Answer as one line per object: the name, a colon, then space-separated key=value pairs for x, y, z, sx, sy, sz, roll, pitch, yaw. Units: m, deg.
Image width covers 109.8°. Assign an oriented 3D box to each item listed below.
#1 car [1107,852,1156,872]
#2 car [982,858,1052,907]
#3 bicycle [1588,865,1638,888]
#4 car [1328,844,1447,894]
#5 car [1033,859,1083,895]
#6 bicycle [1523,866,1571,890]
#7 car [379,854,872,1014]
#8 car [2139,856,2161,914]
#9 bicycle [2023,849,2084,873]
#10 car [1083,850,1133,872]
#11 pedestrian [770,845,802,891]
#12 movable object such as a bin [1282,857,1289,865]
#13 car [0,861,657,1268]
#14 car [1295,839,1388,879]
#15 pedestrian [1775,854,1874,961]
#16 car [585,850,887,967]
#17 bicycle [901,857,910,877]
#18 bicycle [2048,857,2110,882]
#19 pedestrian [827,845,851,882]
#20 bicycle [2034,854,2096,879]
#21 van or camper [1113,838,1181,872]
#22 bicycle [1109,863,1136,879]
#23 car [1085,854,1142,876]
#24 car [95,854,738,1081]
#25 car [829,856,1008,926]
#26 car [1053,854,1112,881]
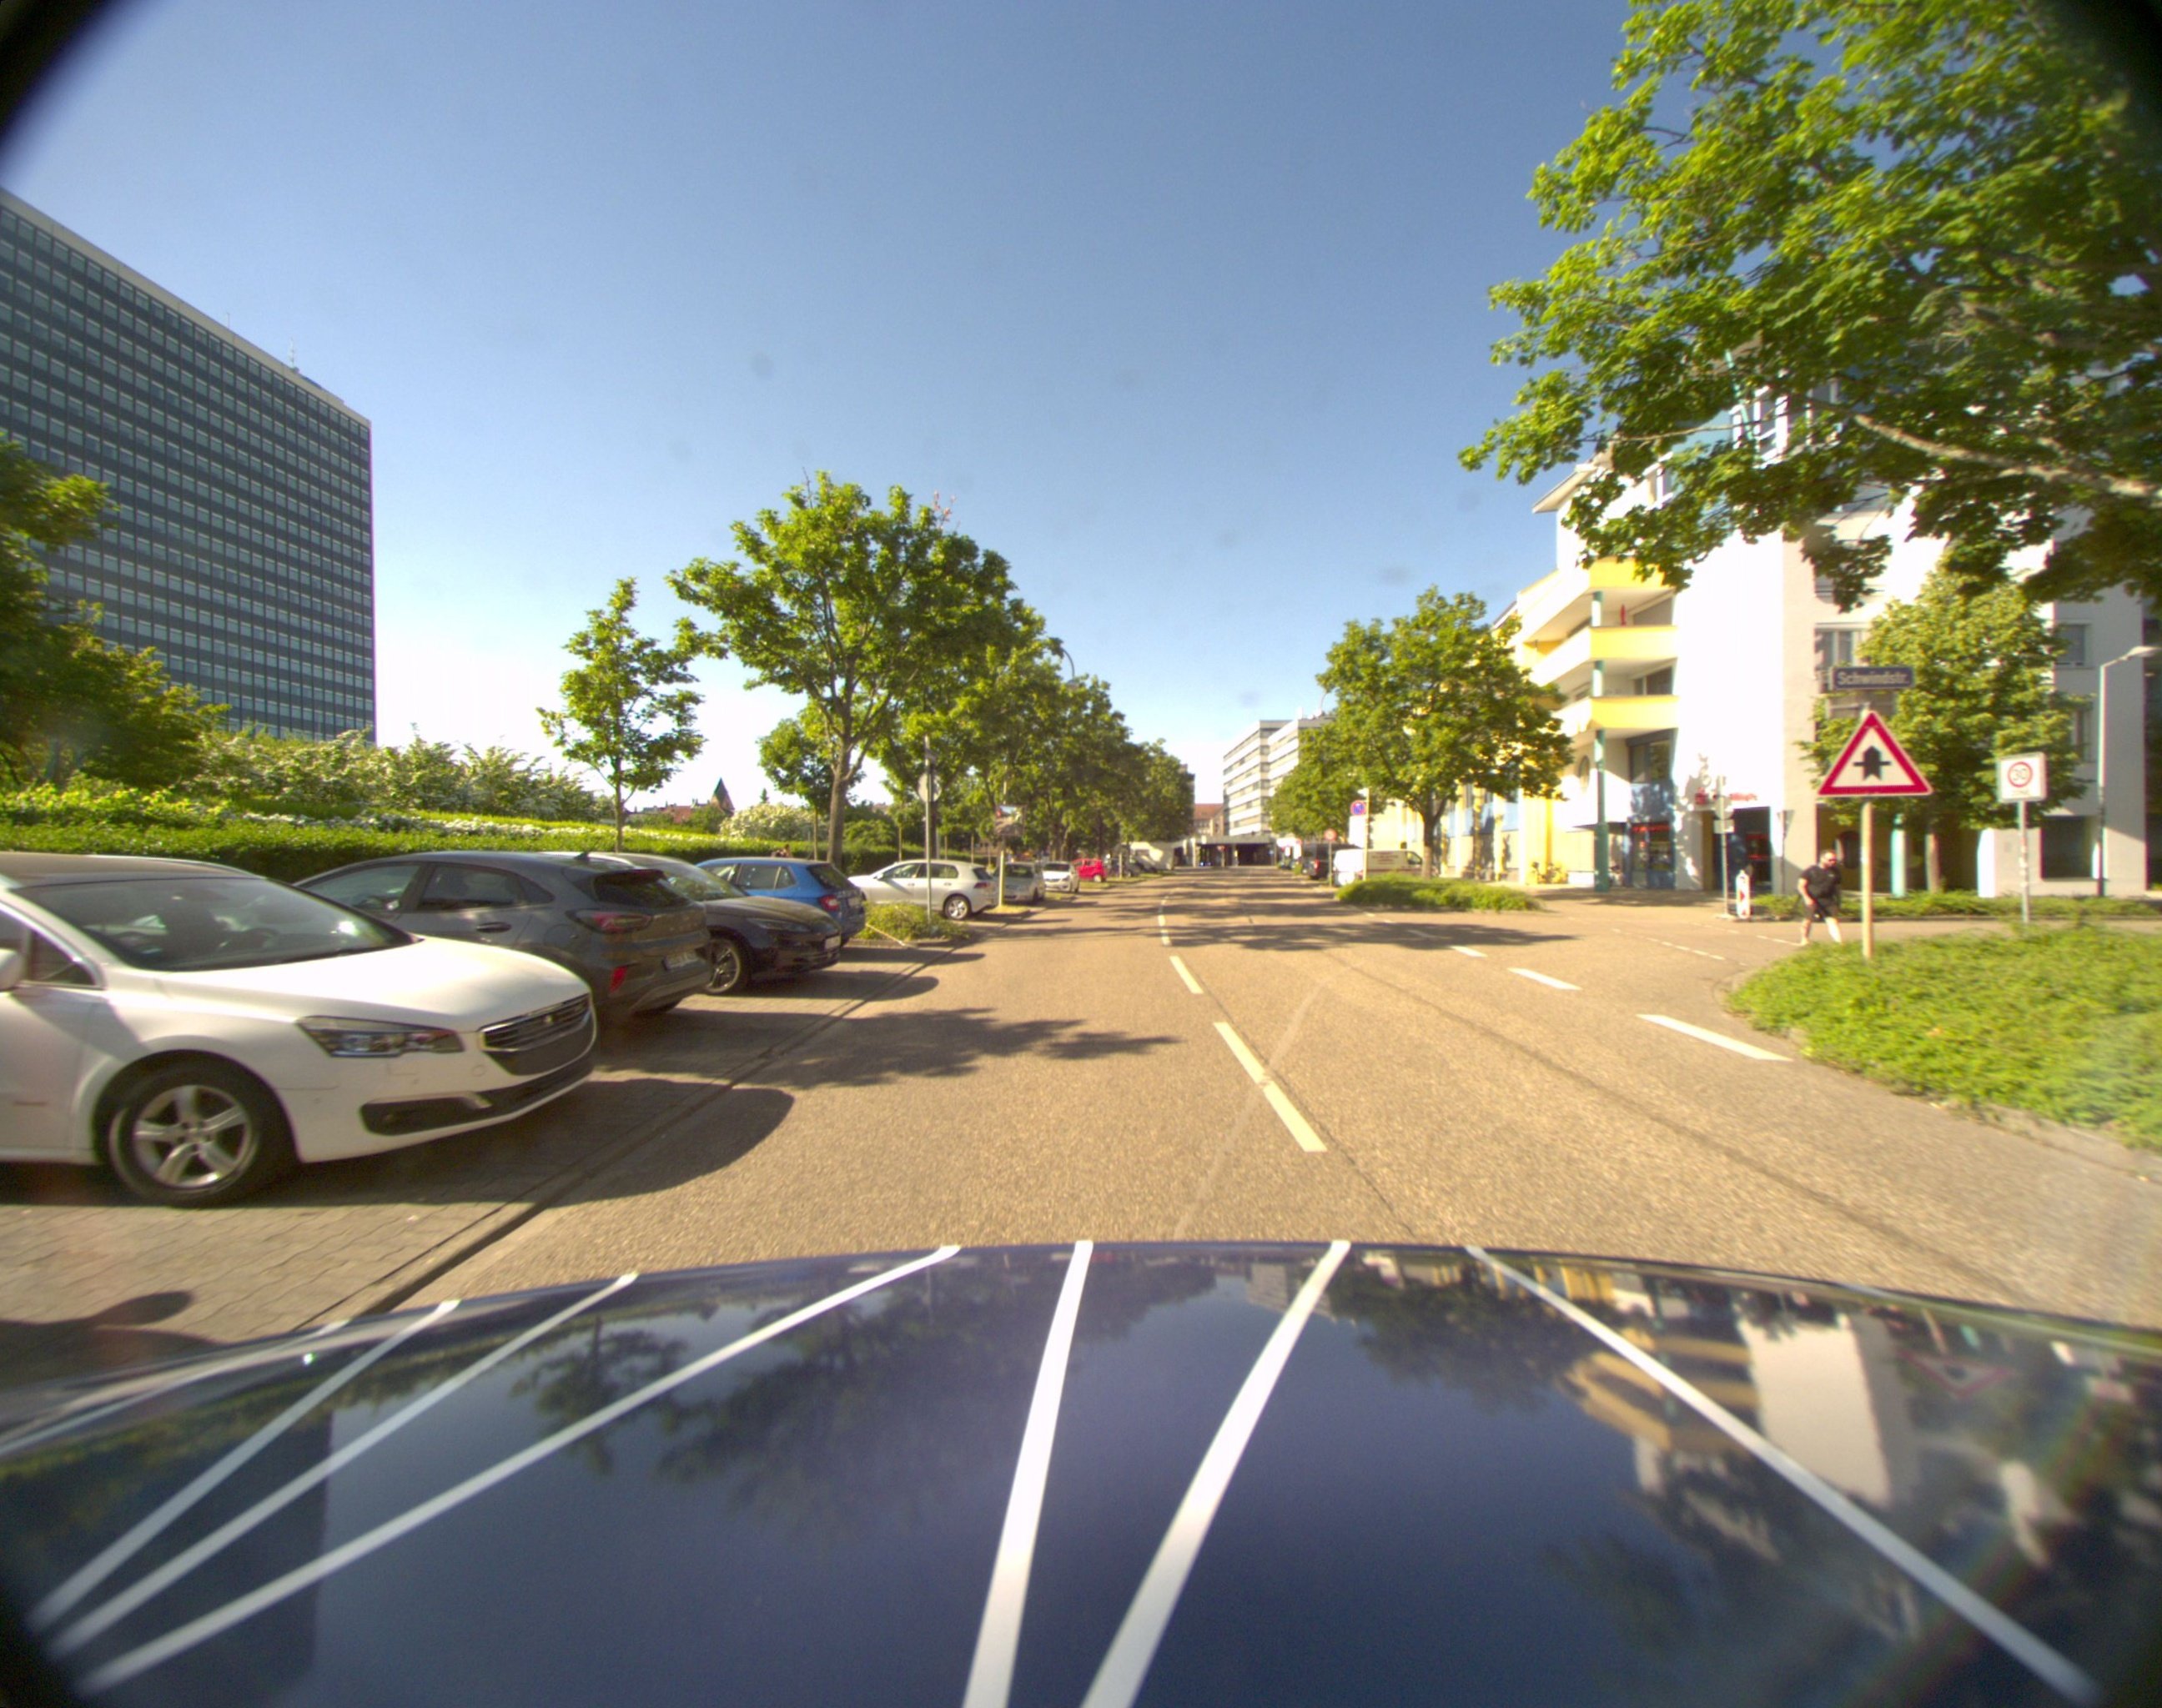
car: x=4.556 y=0.718 z=68.430 sx=4.155 sy=1.537 sz=1.860 roll=2 pitch=1 yaw=11
car: x=-2.220 y=0.963 z=27.605 sx=1.813 sy=1.485 sz=4.624 roll=2 pitch=1 yaw=3
bicycle: x=21.882 y=0.931 z=31.265 sx=1.803 sy=0.867 sz=0.491 roll=-2 pitch=1 yaw=-6
car: x=13.429 y=0.631 z=33.312 sx=4.776 sy=1.973 sz=1.996 roll=-1 pitch=0 yaw=-23
car: x=-1.027 y=1.034 z=35.372 sx=1.646 sy=1.485 sz=3.768 roll=2 pitch=1 yaw=8
bicycle: x=22.007 y=1.121 z=35.931 sx=1.800 sy=1.091 sz=0.702 roll=1 pitch=1 yaw=13
car: x=-5.098 y=0.836 z=9.053 sx=4.560 sy=1.506 sz=2.158 roll=2 pitch=1 yaw=1
car: x=31.600 y=0.782 z=20.149 sx=4.246 sy=1.584 sz=2.000 roll=-2 pitch=0 yaw=0
bicycle: x=34.743 y=0.256 z=27.146 sx=1.803 sy=0.867 sz=0.287 roll=0 pitch=1 yaw=-1
car: x=2.079 y=0.523 z=58.318 sx=3.467 sy=1.471 sz=1.861 roll=2 pitch=1 yaw=11
pedestrian: x=-9.938 y=0.471 z=25.620 sx=0.608 sy=1.533 sz=0.937 roll=0 pitch=1 yaw=6
movable object such as a bin: x=28.224 y=1.020 z=105.097 sx=0.674 sy=1.067 sz=0.804 roll=0 pitch=1 yaw=37
car: x=-5.064 y=0.861 z=3.936 sx=4.563 sy=1.506 sz=1.981 roll=2 pitch=1 yaw=-5
car: x=17.442 y=0.343 z=50.899 sx=5.507 sy=2.422 sz=2.184 roll=-2 pitch=0 yaw=-14
pedestrian: x=12.475 y=0.865 z=12.785 sx=0.658 sy=1.716 sz=1.022 roll=1 pitch=1 yaw=4
car: x=-5.168 y=0.775 z=11.721 sx=3.814 sy=1.440 sz=1.745 roll=3 pitch=1 yaw=2
bicycle: x=-8.107 y=0.593 z=35.133 sx=0.347 sy=0.861 sz=1.408 roll=1 pitch=1 yaw=-11
bicycle: x=34.727 y=0.536 z=26.450 sx=1.803 sy=0.867 sz=0.287 roll=0 pitch=1 yaw=-1
pedestrian: x=-10.386 y=0.409 z=32.636 sx=0.725 sy=1.579 sz=0.853 roll=0 pitch=1 yaw=2
bicycle: x=34.707 y=0.433 z=26.802 sx=1.803 sy=0.867 sz=0.287 roll=0 pitch=1 yaw=-1
van or camper: x=6.207 y=0.056 z=71.157 sx=5.990 sy=2.967 sz=2.673 roll=2 pitch=1 yaw=11
bicycle: x=2.786 y=1.151 z=51.433 sx=1.752 sy=0.985 sz=0.531 roll=2 pitch=1 yaw=24
car: x=2.608 y=0.883 z=61.052 sx=4.199 sy=1.537 sz=1.861 roll=2 pitch=1 yaw=14
car: x=-5.249 y=0.822 z=6.401 sx=3.885 sy=1.506 sz=1.750 roll=2 pitch=1 yaw=1
car: x=-4.084 y=0.897 z=19.406 sx=4.096 sy=1.421 sz=1.643 roll=3 pitch=1 yaw=7
car: x=0.133 y=0.828 z=48.992 sx=3.438 sy=1.535 sz=1.629 roll=3 pitch=1 yaw=14
